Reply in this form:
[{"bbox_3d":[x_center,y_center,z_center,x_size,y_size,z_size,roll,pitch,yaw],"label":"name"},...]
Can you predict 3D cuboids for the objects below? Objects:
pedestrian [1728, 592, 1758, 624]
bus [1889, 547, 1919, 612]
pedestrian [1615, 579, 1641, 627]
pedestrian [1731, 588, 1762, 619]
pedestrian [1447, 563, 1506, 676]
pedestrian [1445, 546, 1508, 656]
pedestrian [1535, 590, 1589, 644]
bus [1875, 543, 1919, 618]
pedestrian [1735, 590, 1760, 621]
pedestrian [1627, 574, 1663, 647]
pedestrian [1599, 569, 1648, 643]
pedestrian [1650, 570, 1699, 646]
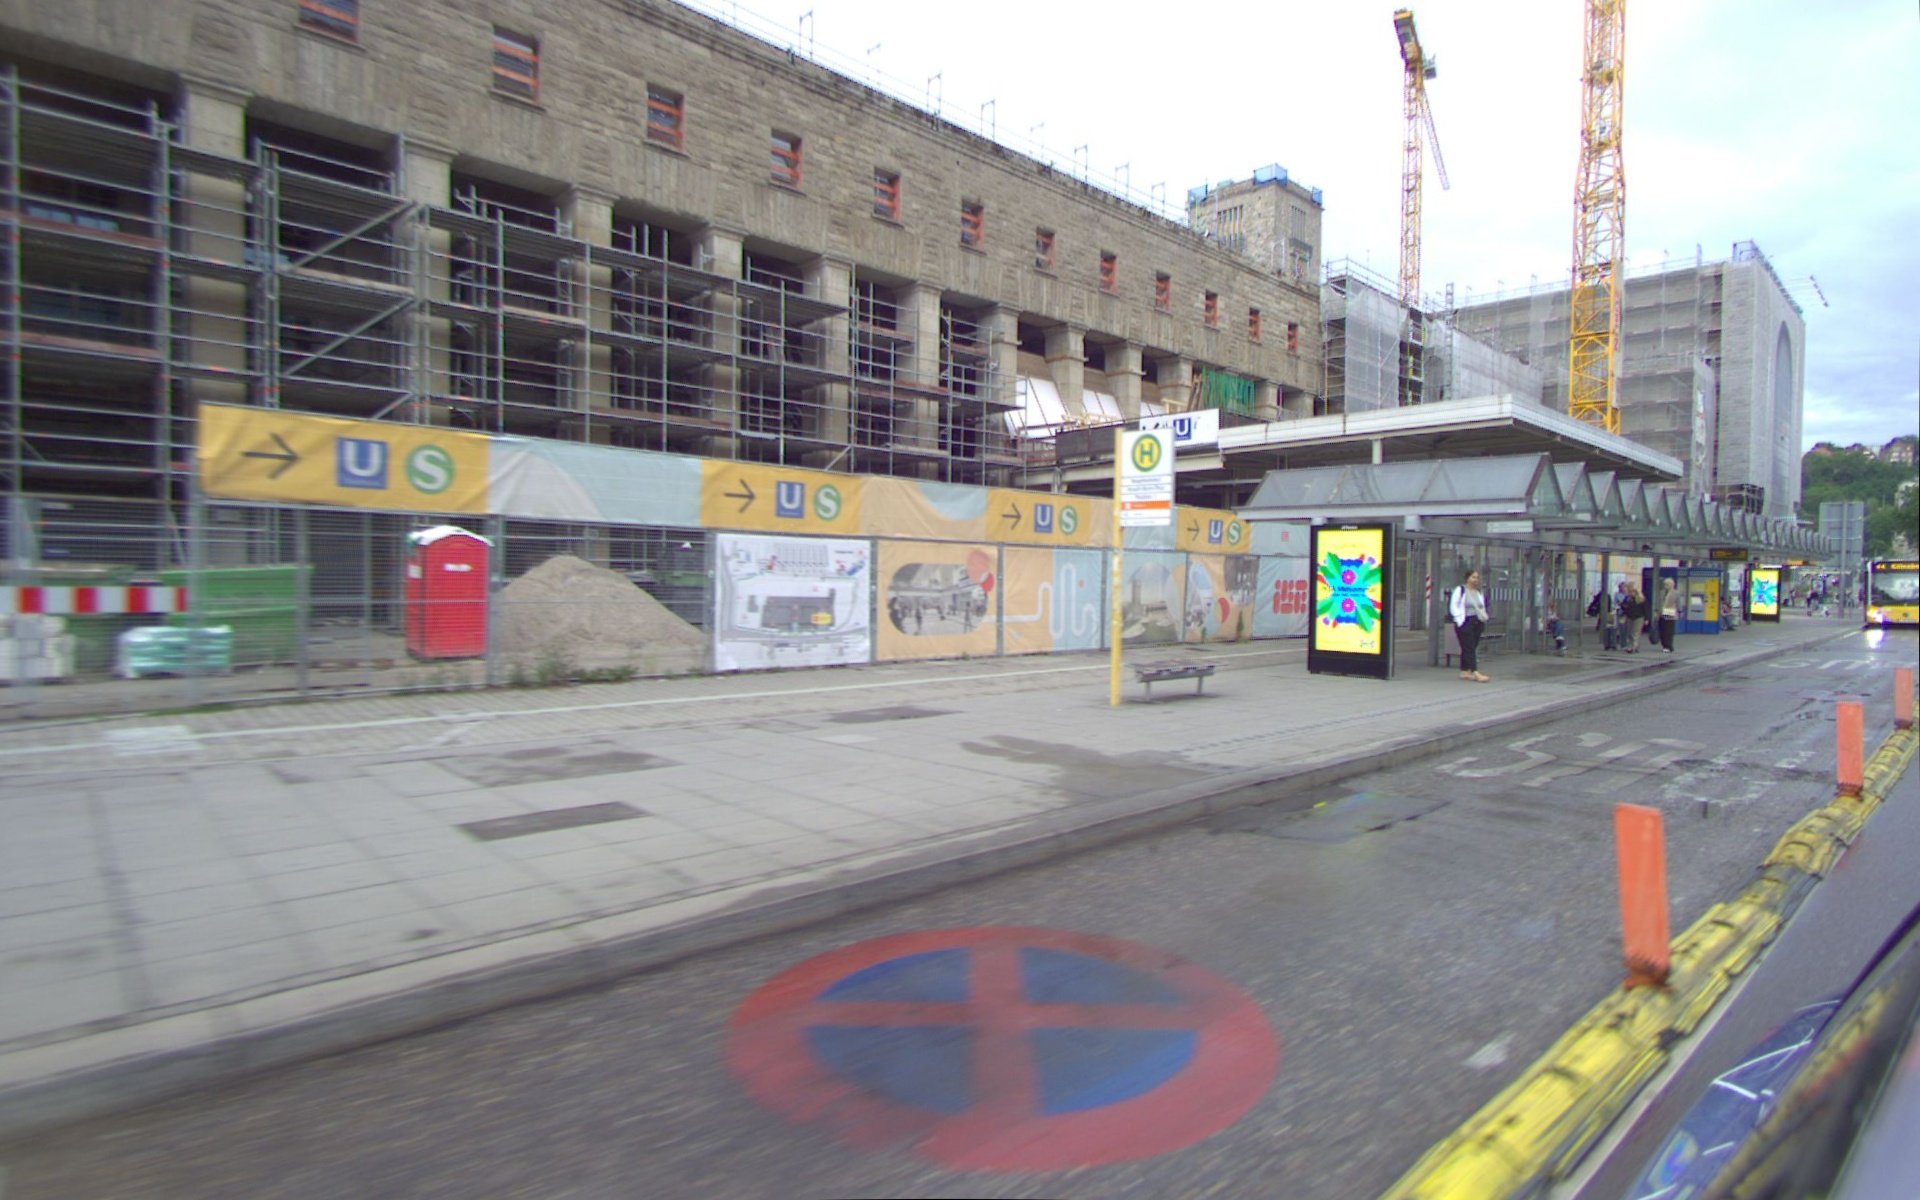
[{"bbox_3d":[27.410,0.270,35.440,0.697,1.078,0.728,-1,2,-44],"label":"pedestrian"},{"bbox_3d":[49.272,-1.061,51.335,8.932,3.107,2.757,-2,1,-45],"label":"bus"},{"bbox_3d":[22.821,0.103,34.565,0.704,1.627,0.720,0,0,35],"label":"pedestrian"},{"bbox_3d":[27.952,0.109,35.968,0.795,1.078,0.728,-1,2,-44],"label":"pedestrian"},{"bbox_3d":[8.012,0.276,15.725,0.695,1.700,0.719,1,1,20],"label":"pedestrian"},{"bbox_3d":[10.029,0.019,19.678,0.790,2.076,0.925,0,0,6],"label":"pedestrian"},{"bbox_3d":[14.262,0.383,23.966,0.826,1.246,0.914,0,0,-43],"label":"pedestrian"},{"bbox_3d":[42.951,-0.901,45.056,8.847,3.104,2.757,-2,1,-45],"label":"bus"},{"bbox_3d":[31.479,0.212,40.445,0.655,1.201,0.665,0,2,-44],"label":"pedestrian"},{"bbox_3d":[15.318,0.224,22.634,0.717,1.585,0.521,0,1,-44],"label":"pedestrian"},{"bbox_3d":[15.504,0.131,23.654,0.791,1.681,0.809,0,0,-44],"label":"pedestrian"},{"bbox_3d":[16.608,0.167,23.531,0.808,1.714,0.763,0,2,-44],"label":"pedestrian"}]
